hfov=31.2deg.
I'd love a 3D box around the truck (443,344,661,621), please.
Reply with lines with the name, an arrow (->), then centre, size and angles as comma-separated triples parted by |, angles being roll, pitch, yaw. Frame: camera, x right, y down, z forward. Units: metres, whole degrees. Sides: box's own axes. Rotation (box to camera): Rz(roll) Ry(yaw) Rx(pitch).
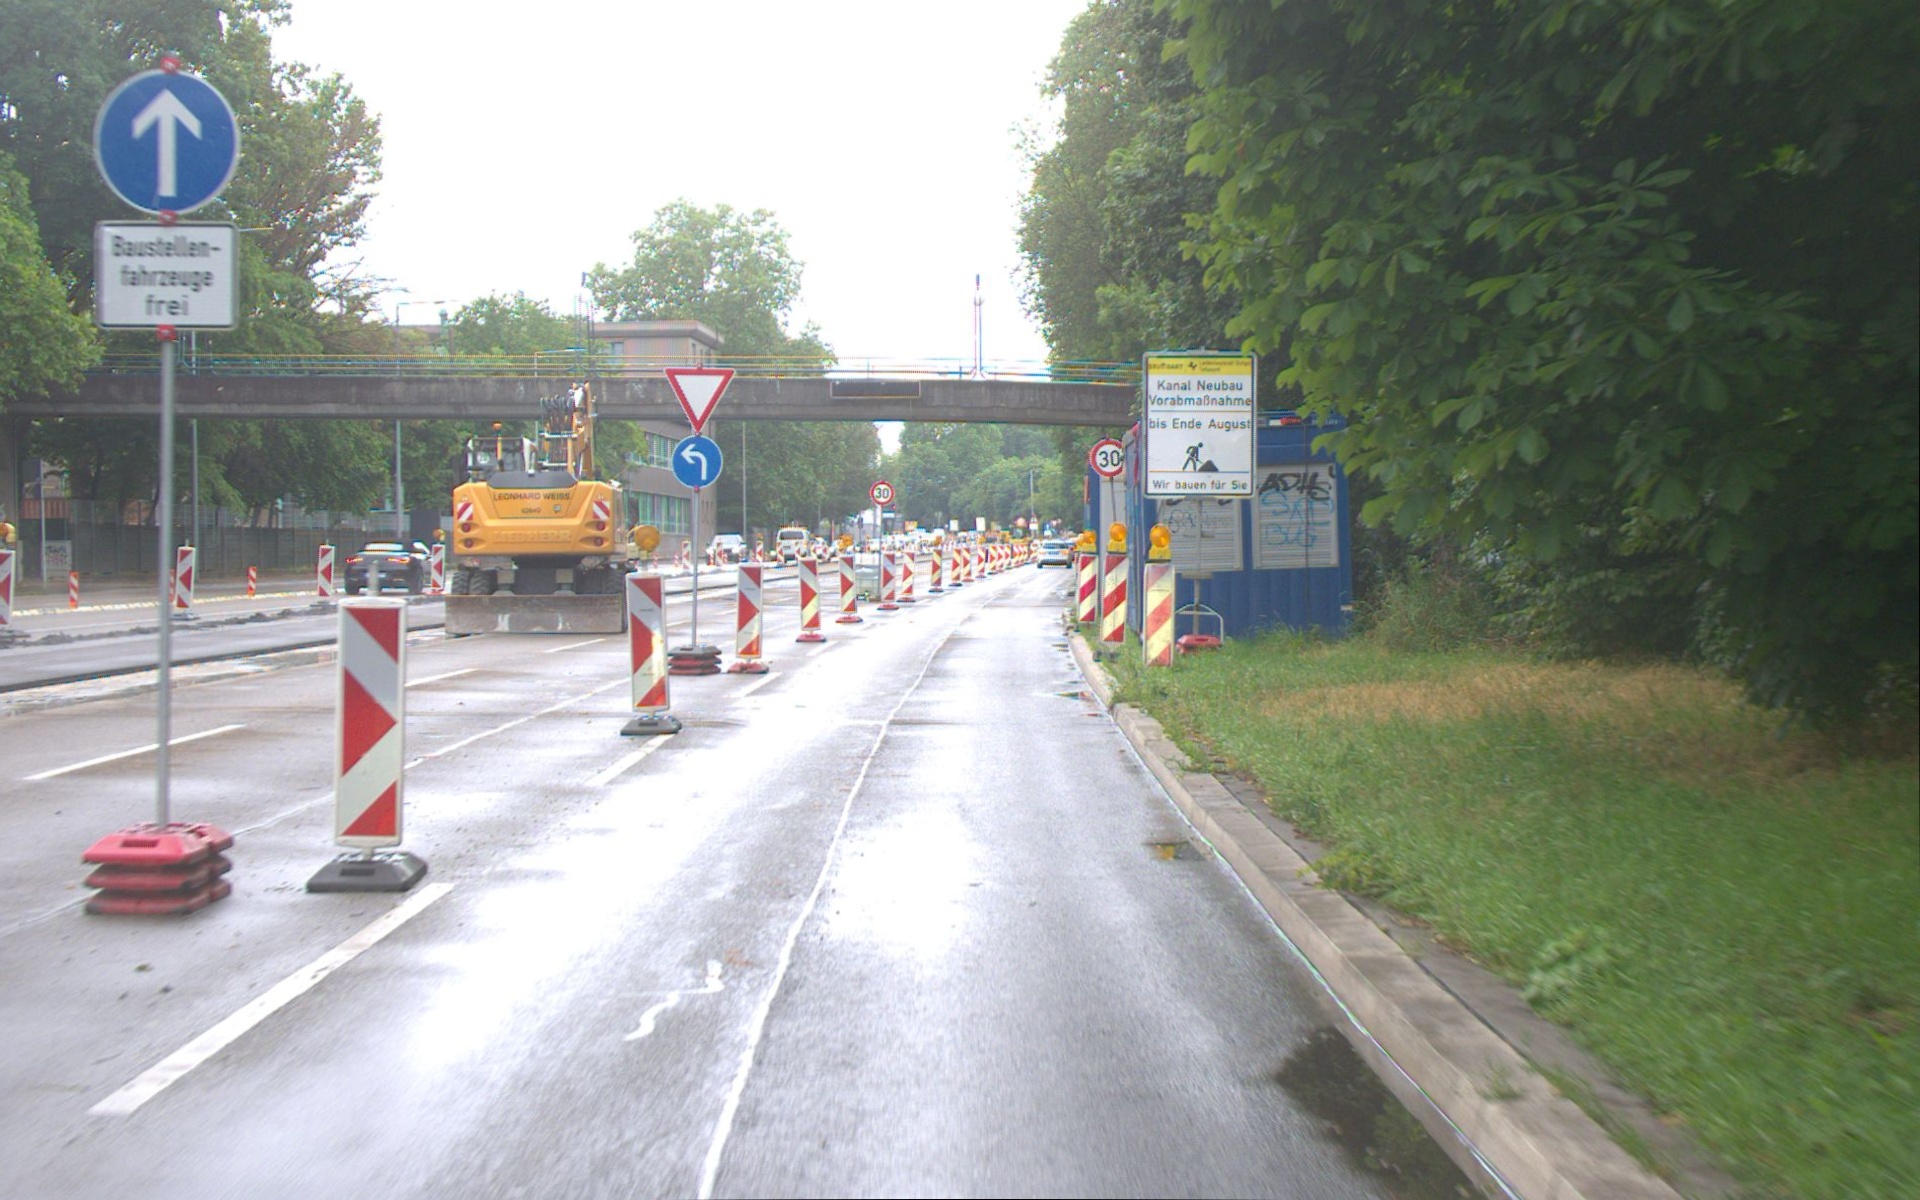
truck -> -6.800, -1.943, 58.690 | 2.897, 4.244, 10.757 | 1, 1, -3

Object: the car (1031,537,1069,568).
car -> 4.808, -2.542, 183.514 | 1.993, 1.634, 4.000 | -1, 1, 2

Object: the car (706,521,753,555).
car -> -12.440, -3.366, 186.047 | 1.971, 1.800, 4.607 | -1, 1, 3
